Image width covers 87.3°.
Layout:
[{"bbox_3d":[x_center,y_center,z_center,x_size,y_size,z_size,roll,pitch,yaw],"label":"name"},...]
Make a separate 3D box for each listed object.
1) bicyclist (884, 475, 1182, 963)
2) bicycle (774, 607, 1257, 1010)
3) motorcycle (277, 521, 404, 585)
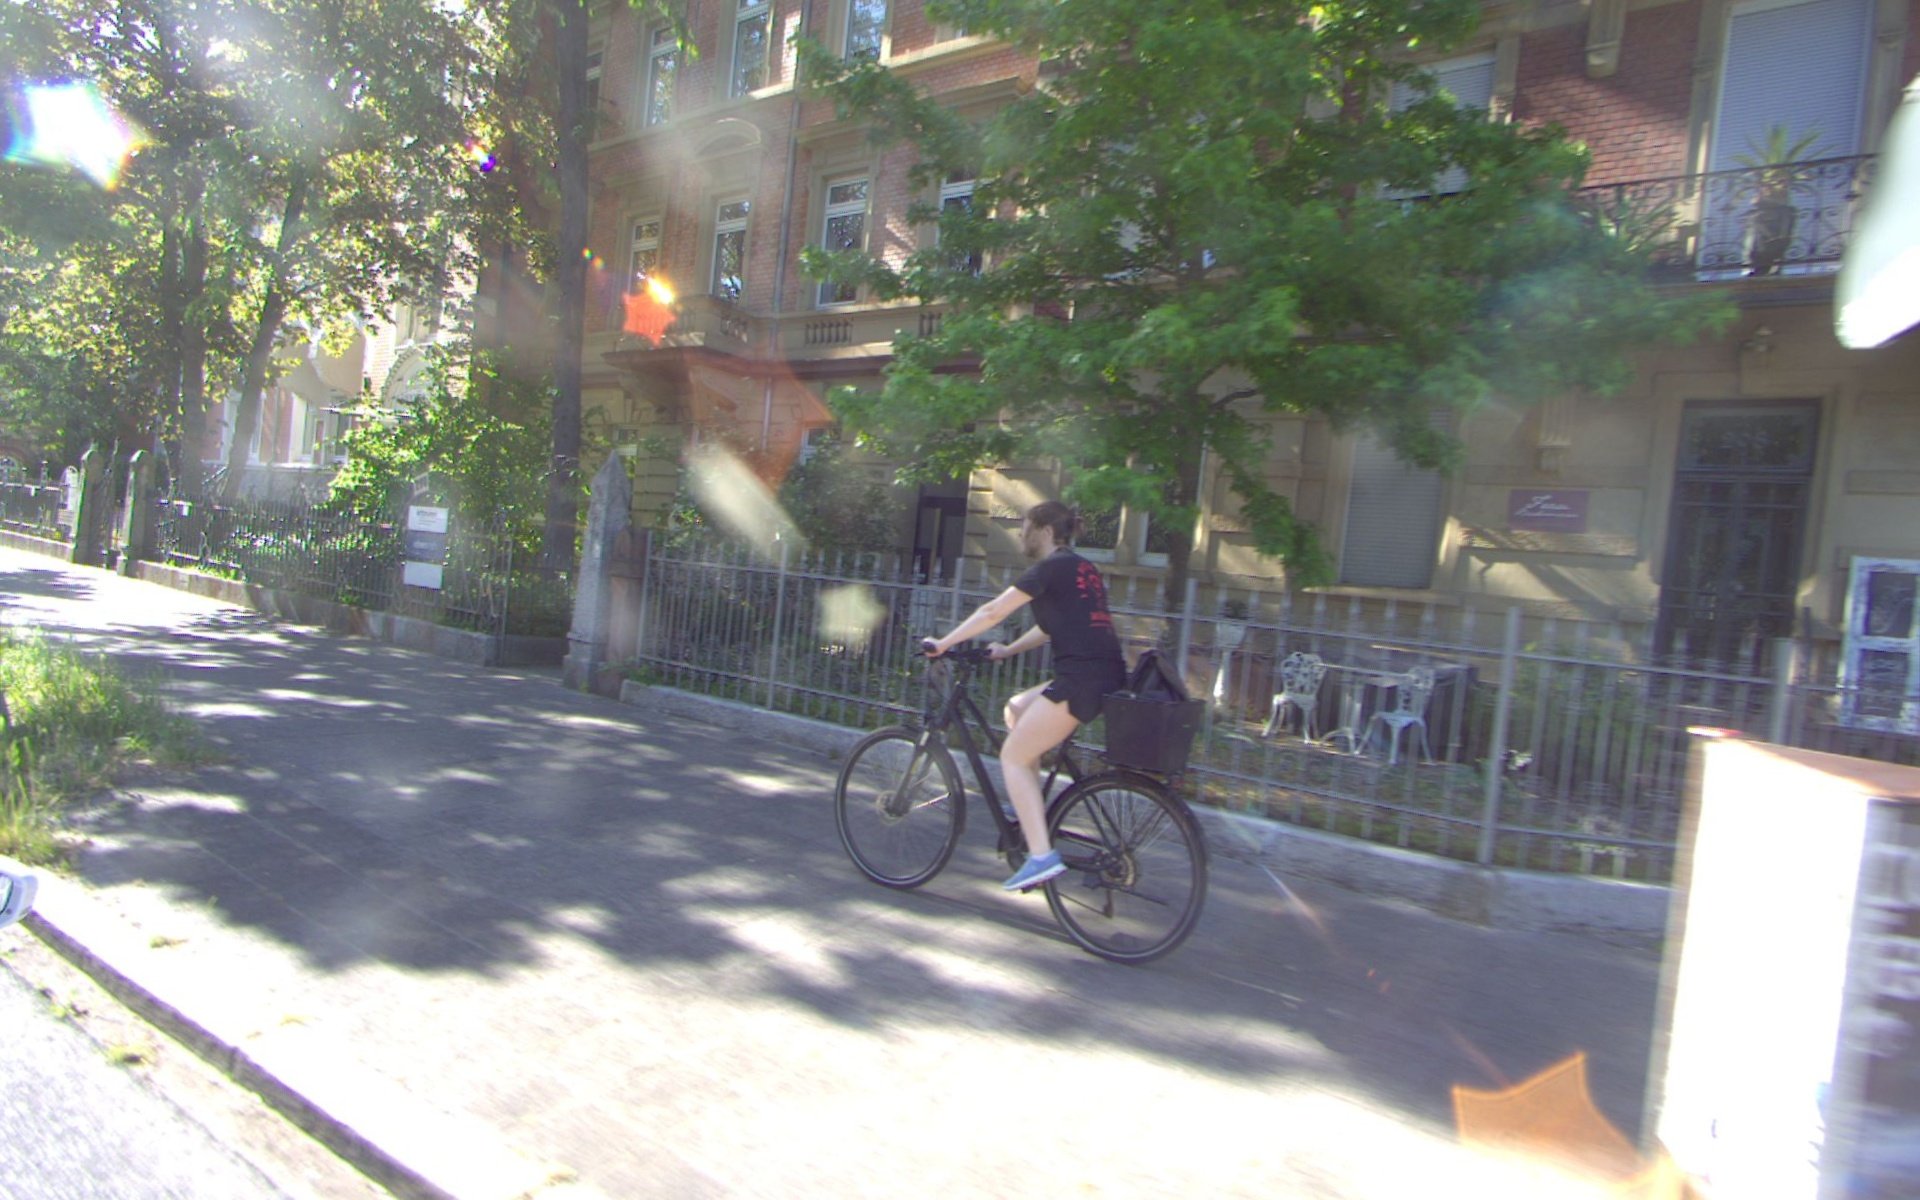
[{"bbox_3d":[0.293,0.406,4.059,0.874,1.720,0.645,7,5,30],"label":"bicyclist"},{"bbox_3d":[0.174,0.721,4.148,1.812,1.193,0.652,7,5,31],"label":"bicycle"},{"bbox_3d":[-11.591,-0.859,18.861,0.771,1.045,1.869,6,2,43],"label":"motorcycle"}]
